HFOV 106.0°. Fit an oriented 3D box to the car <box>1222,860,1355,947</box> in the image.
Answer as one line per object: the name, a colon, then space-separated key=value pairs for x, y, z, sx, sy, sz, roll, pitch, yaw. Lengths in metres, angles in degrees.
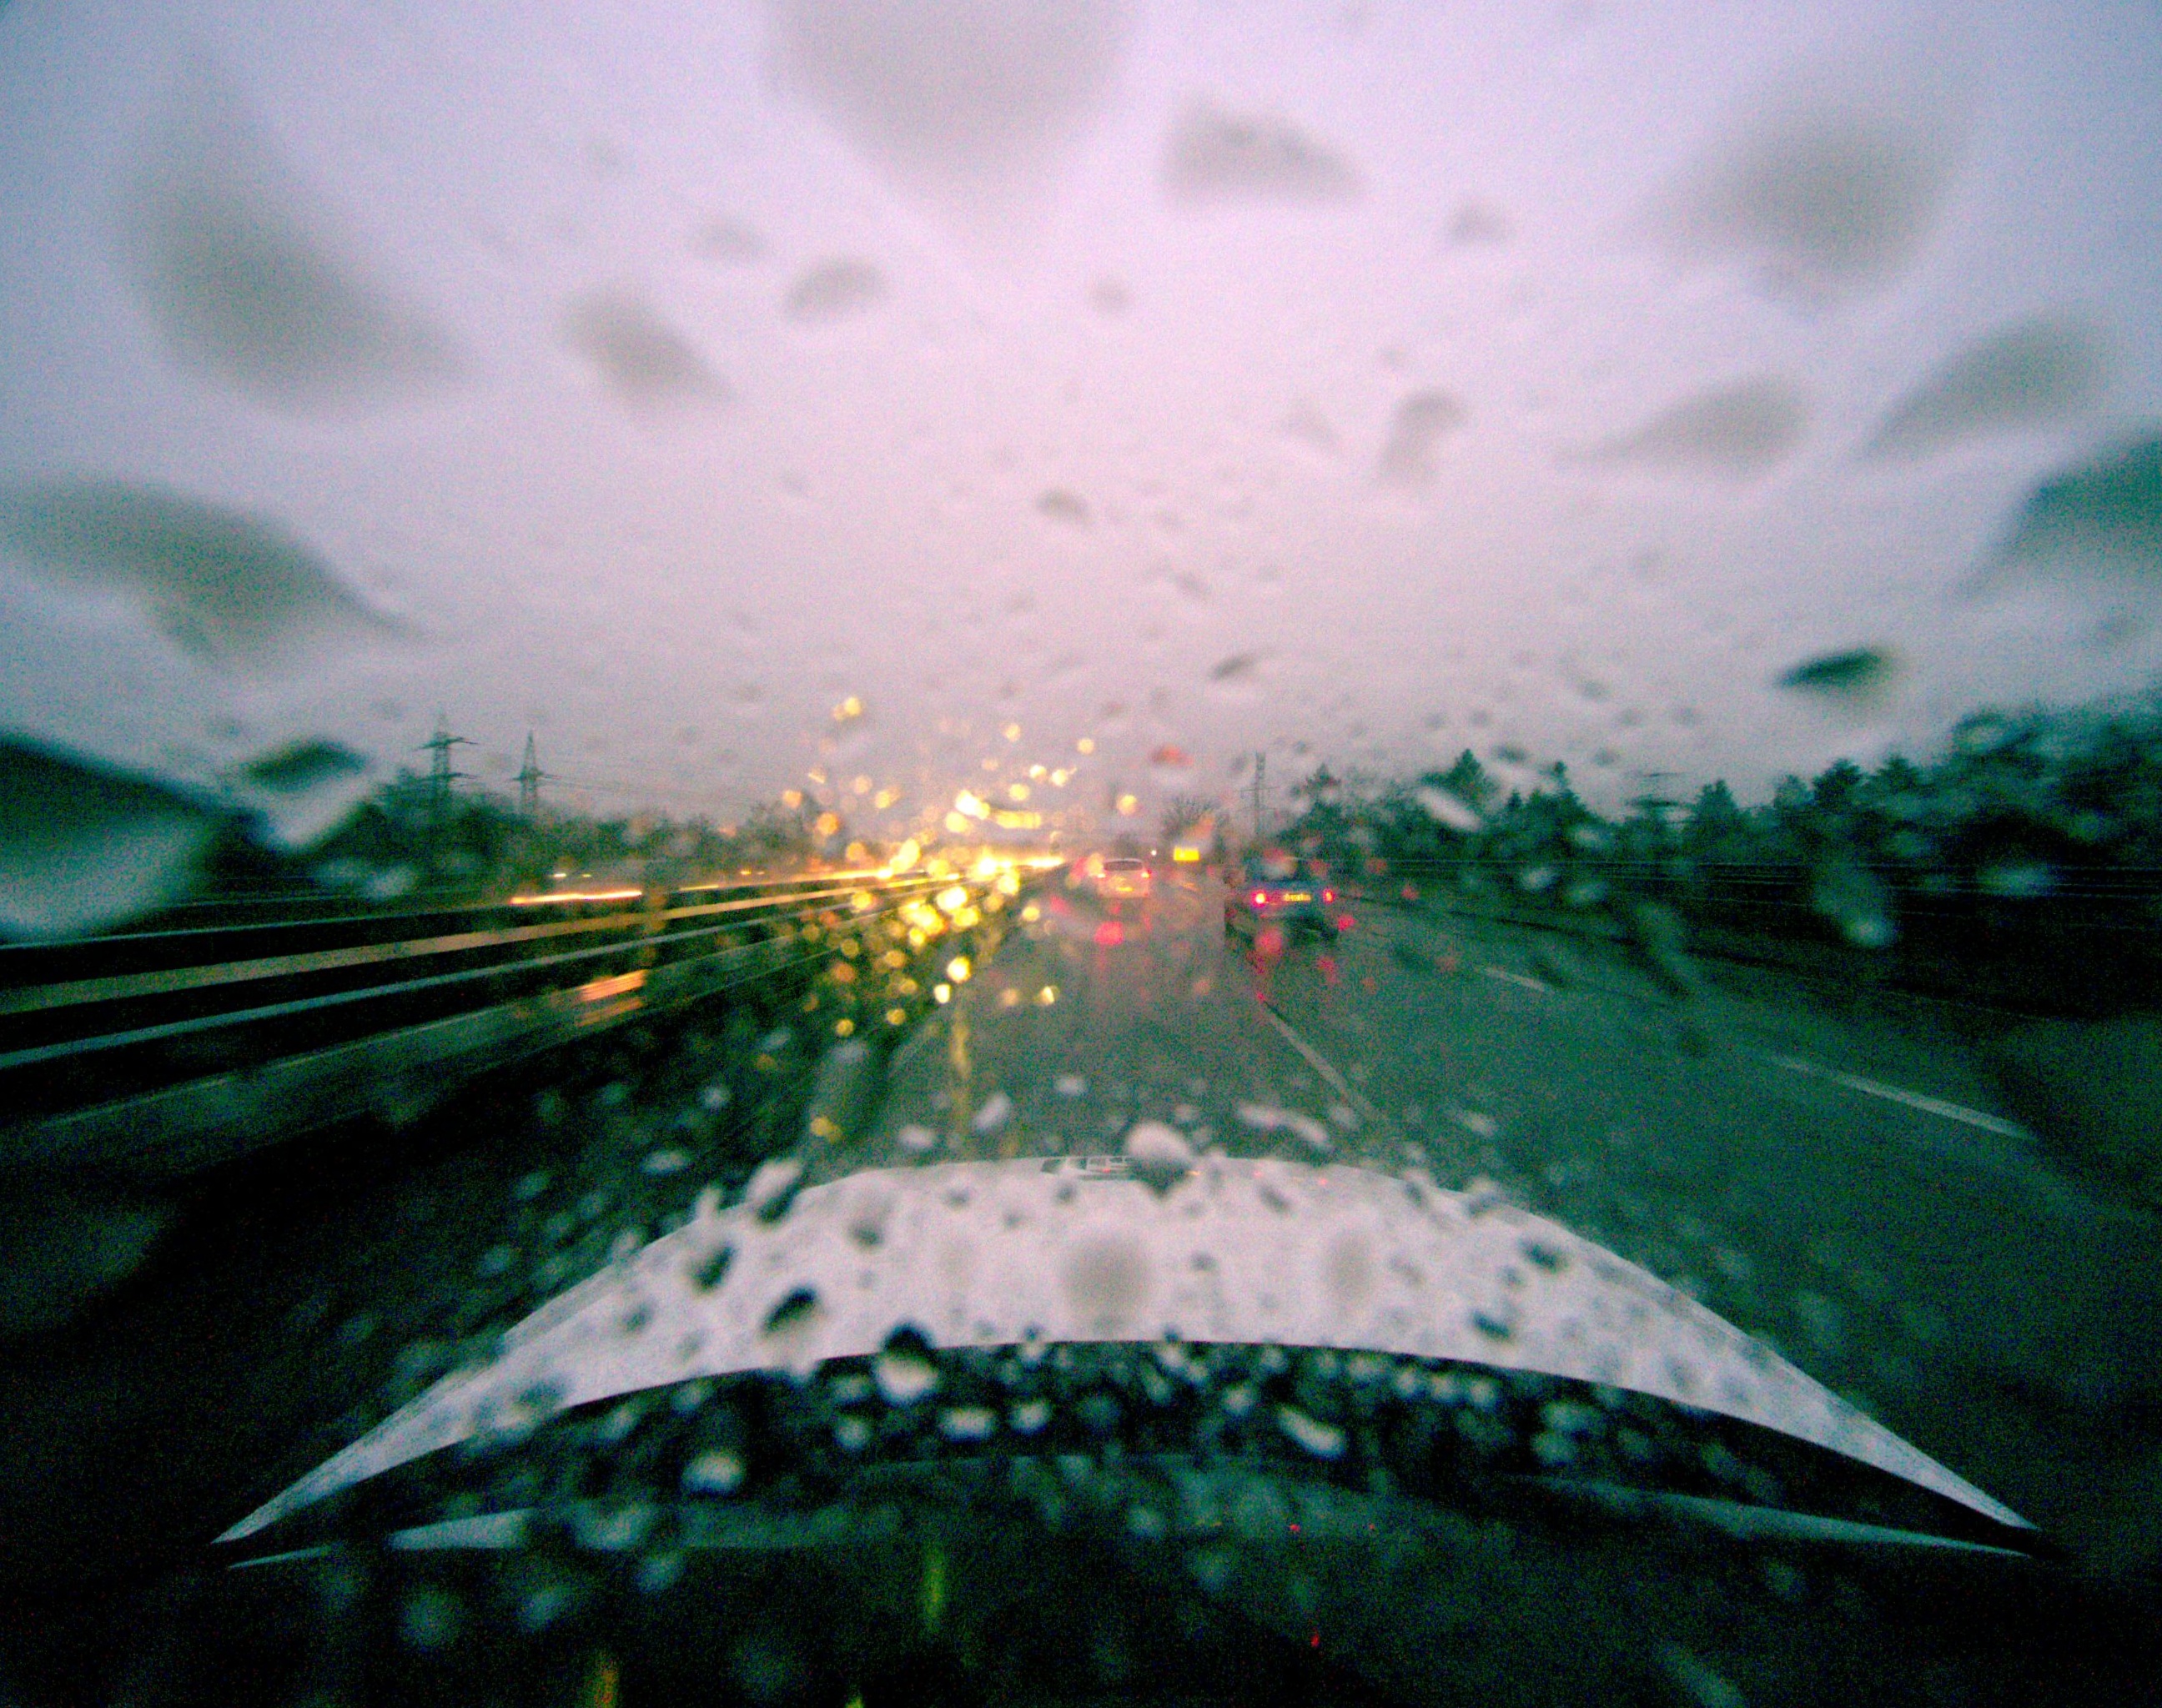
car: x=4.033 y=0.895 z=16.522 sx=1.838 sy=1.453 sz=4.152 roll=-1 pitch=1 yaw=3

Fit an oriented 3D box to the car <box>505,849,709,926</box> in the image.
car: x=-10.381 y=0.661 z=18.296 sx=1.960 sy=1.524 sz=4.202 roll=-1 pitch=0 yaw=3

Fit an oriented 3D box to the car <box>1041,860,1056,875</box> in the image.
car: x=-4.897 y=1.975 z=123.106 sx=1.986 sy=2.136 sz=5.201 roll=-1 pitch=1 yaw=1

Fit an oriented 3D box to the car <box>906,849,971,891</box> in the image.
car: x=-6.173 y=0.683 z=35.813 sx=1.986 sy=1.728 sz=4.002 roll=0 pitch=0 yaw=2

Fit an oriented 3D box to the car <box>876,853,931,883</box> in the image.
car: x=-9.928 y=0.752 z=45.892 sx=1.986 sy=1.596 sz=4.658 roll=0 pitch=0 yaw=1

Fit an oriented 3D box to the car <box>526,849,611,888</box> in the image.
car: x=-28.132 y=0.743 z=44.870 sx=1.986 sy=2.013 sz=4.002 roll=-1 pitch=1 yaw=1

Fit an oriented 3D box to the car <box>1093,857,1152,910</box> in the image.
car: x=1.327 y=0.941 z=27.428 sx=1.839 sy=1.636 sz=3.767 roll=-1 pitch=-1 yaw=1
